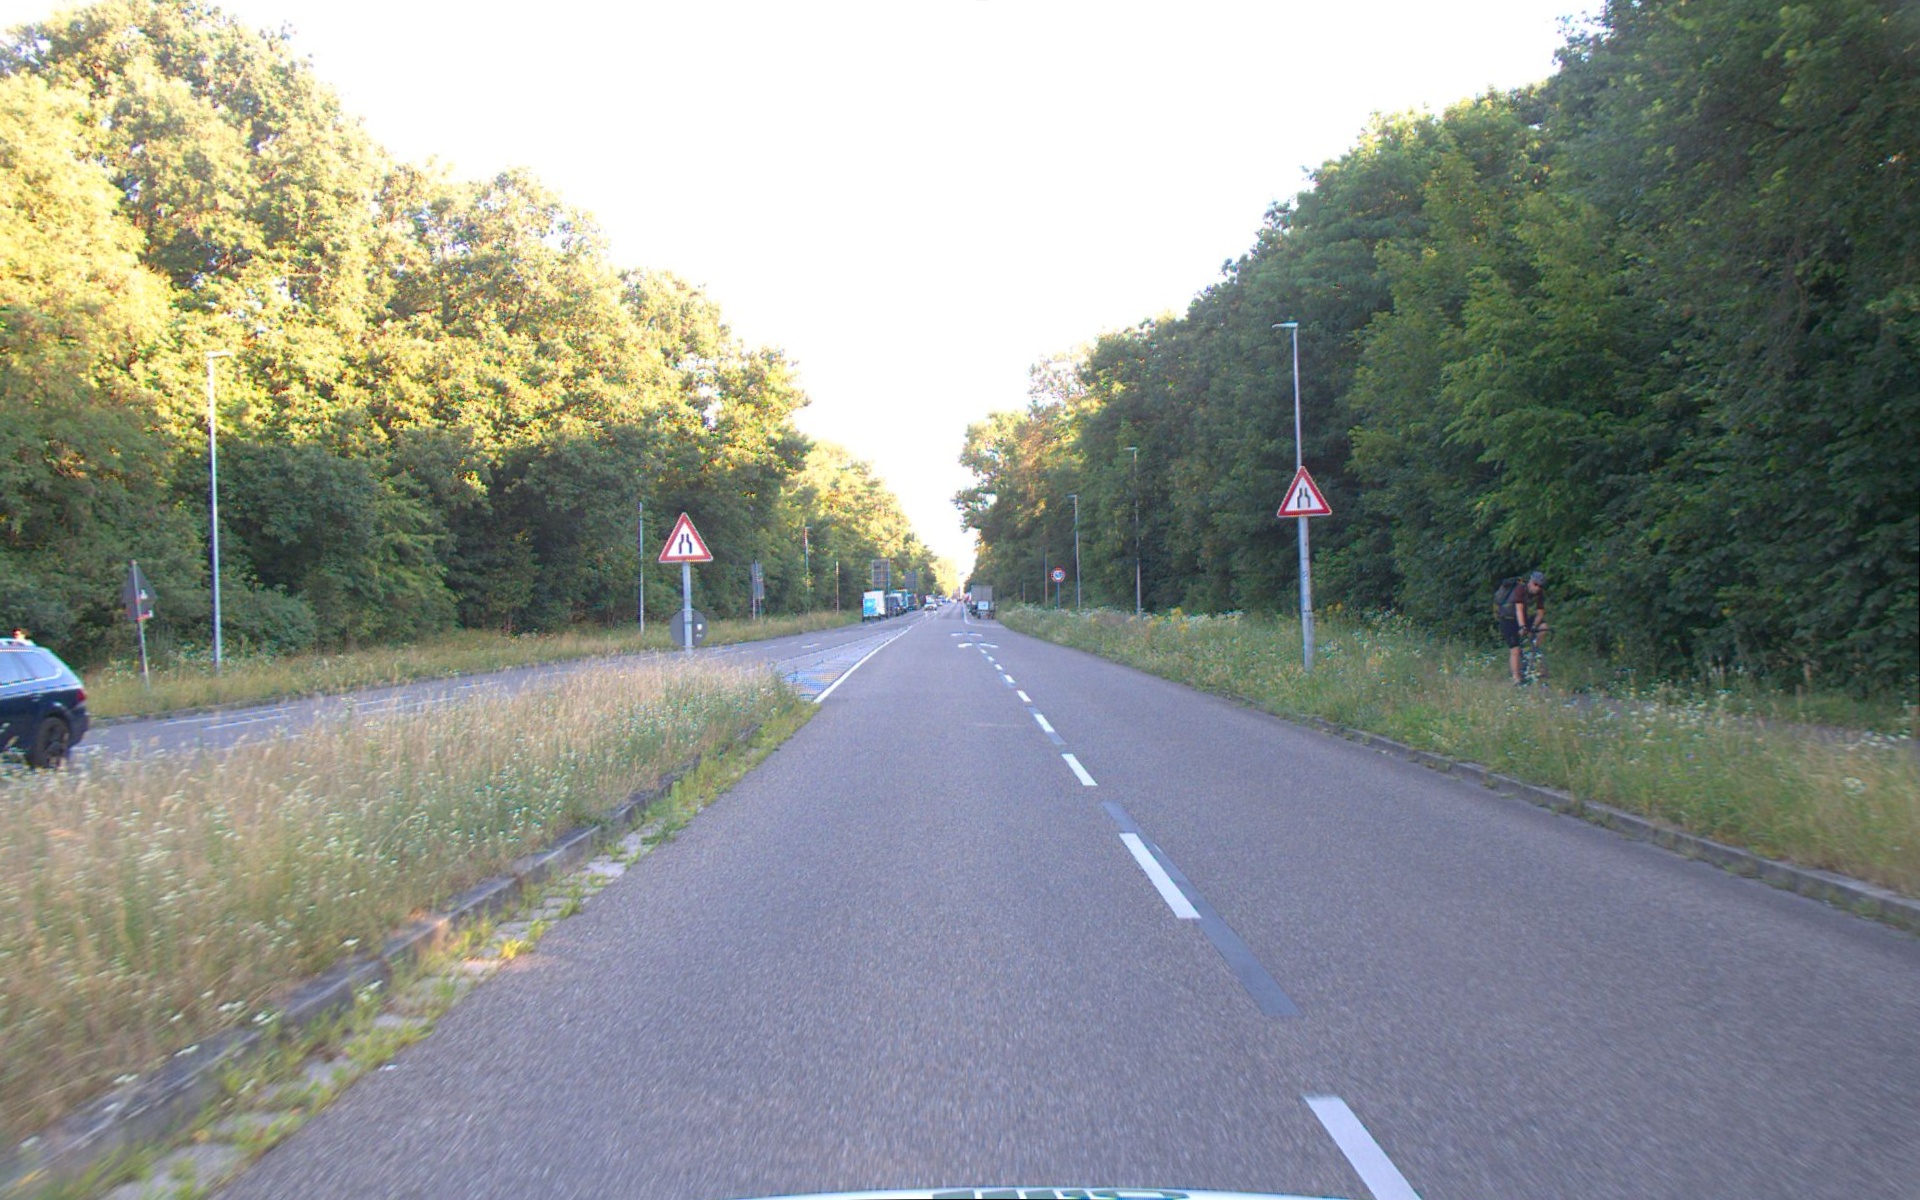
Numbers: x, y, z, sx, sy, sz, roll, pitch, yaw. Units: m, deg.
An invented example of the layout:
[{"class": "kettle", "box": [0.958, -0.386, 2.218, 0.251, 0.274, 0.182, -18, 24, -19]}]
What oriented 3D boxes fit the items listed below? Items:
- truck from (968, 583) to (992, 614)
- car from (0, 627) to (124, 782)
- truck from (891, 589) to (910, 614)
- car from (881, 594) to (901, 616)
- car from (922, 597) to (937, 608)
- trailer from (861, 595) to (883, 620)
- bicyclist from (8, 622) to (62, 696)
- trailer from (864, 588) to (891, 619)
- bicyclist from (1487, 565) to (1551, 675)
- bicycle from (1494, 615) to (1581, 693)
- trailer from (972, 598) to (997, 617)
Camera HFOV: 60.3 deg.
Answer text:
[{"class": "truck", "box": [2.257, -0.166, 184.451, 2.535, 3.312, 7.221, 0, 0, 1]}, {"class": "car", "box": [-10.830, 1.154, 17.127, 1.781, 1.560, 4.457, -3, 0, 4]}, {"class": "truck", "box": [-8.464, 0.153, 236.262, 2.453, 3.387, 6.841, -2, 0, 0]}, {"class": "car", "box": [-8.022, 0.619, 193.251, 1.953, 2.405, 5.765, -4, 0, 0]}, {"class": "car", "box": [-4.789, 0.354, 259.692, 2.021, 1.460, 4.466, -5, 0, 1]}, {"class": "trailer", "box": [-8.112, 0.716, 152.217, 1.780, 2.205, 4.142, -2, 0, -1]}, {"class": "bicyclist", "box": [-18.952, 1.197, 33.899, 0.573, 1.454, 0.823, -2, 0, 6]}, {"class": "trailer", "box": [-8.336, 0.378, 167.828, 2.279, 2.975, 5.626, -4, 0, -1]}, {"class": "bicyclist", "box": [7.732, 0.274, 22.905, 0.591, 1.480, 0.780, -2, 0, 1]}, {"class": "bicycle", "box": [7.910, 0.724, 22.720, 0.598, 1.013, 1.691, -2, -1, 1]}, {"class": "trailer", "box": [2.270, 0.656, 151.976, 1.425, 1.691, 3.780, -2, 0, 13]}]
